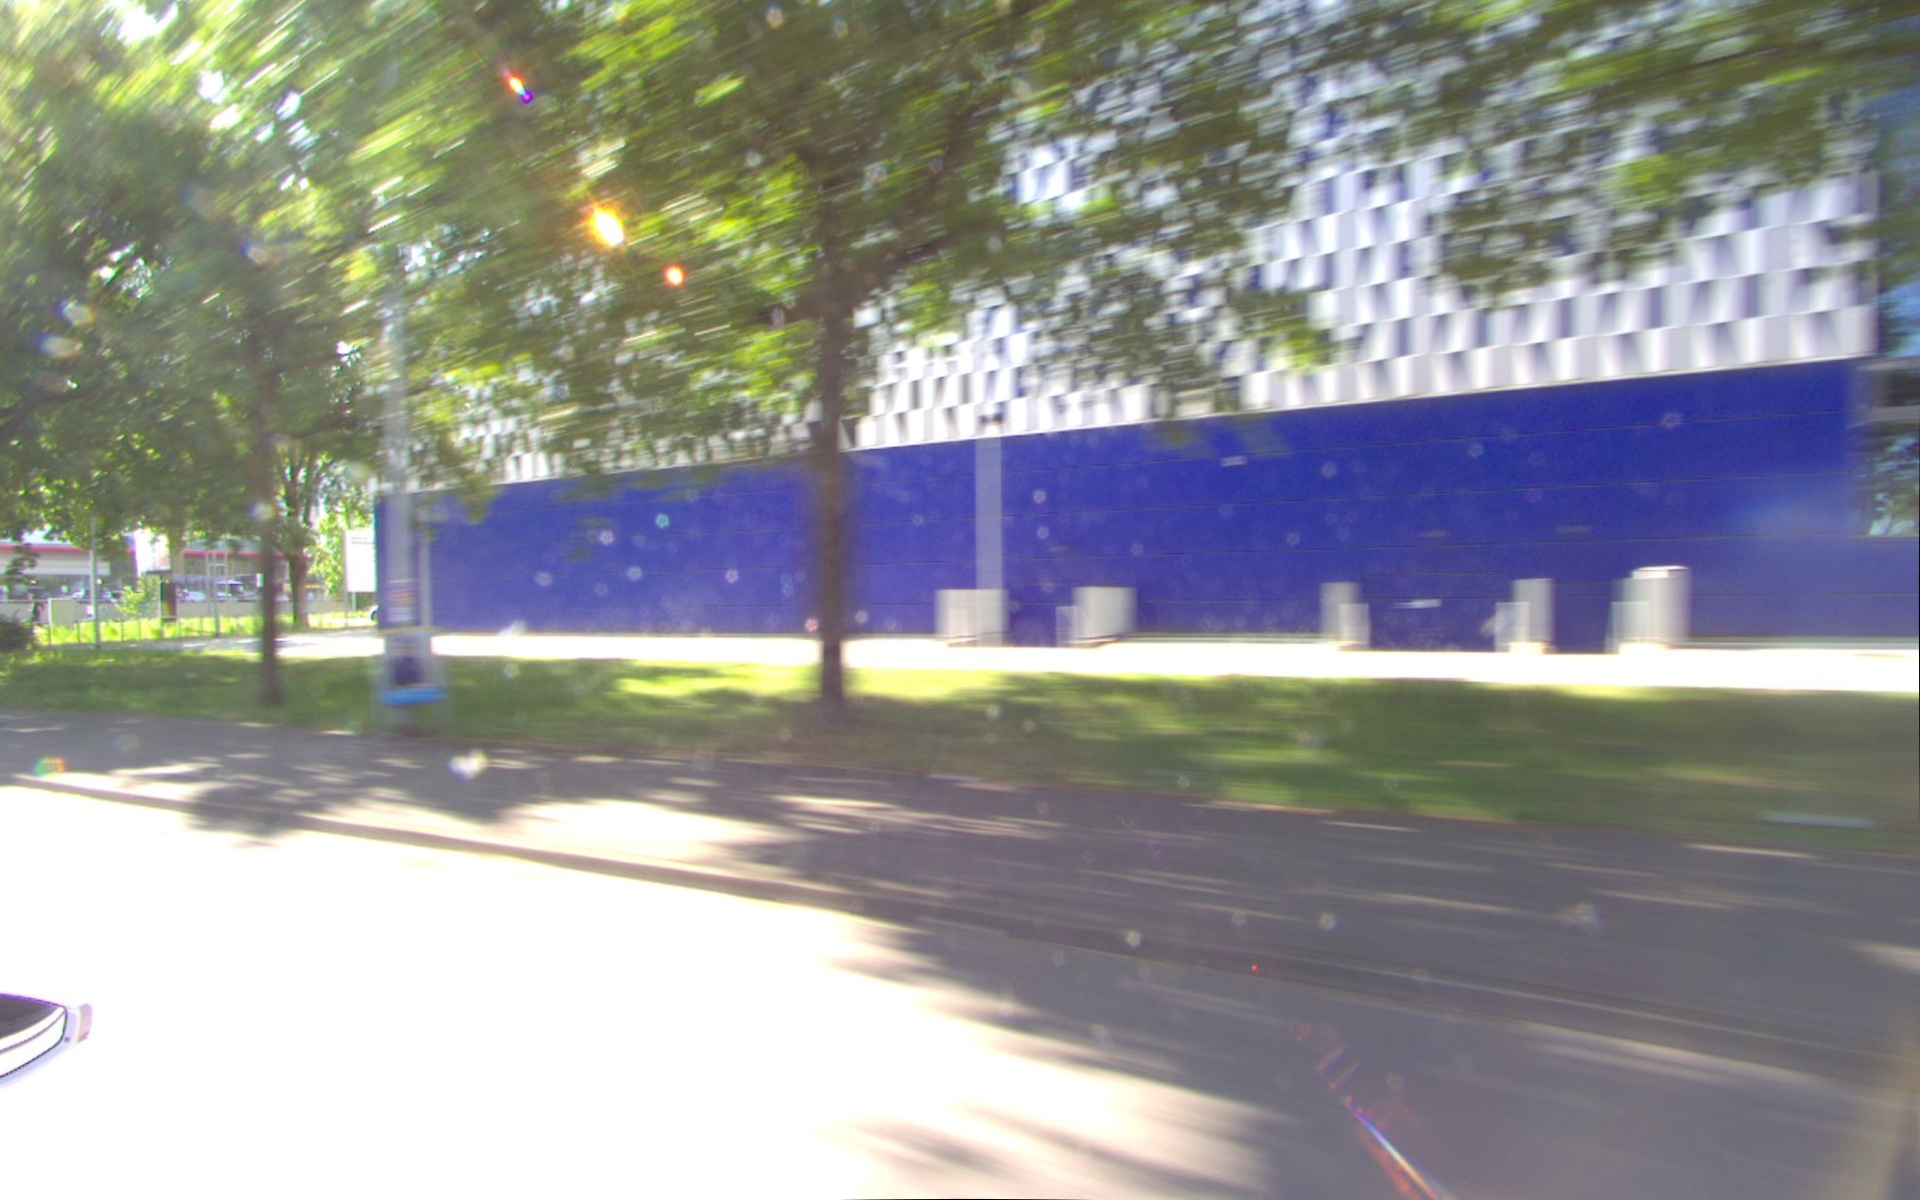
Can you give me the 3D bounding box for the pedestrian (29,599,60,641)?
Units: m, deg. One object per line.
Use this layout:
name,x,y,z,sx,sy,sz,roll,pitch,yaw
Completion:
pedestrian,-40.137,0.877,43.909,0.791,1.794,0.628,-1,1,17

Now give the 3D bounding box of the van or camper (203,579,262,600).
van or camper,-81.477,-1.155,112.179,1.968,2.039,4.985,1,-1,26

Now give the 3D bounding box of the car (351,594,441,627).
car,-26.857,0.507,47.701,3.862,1.509,1.786,-1,0,25

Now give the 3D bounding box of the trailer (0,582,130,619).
trailer,-67.609,0.009,72.242,1.971,2.501,11.852,1,-1,32

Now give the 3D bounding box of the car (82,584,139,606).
car,-87.238,-0.516,102.893,1.967,2.039,3.988,1,-1,25
